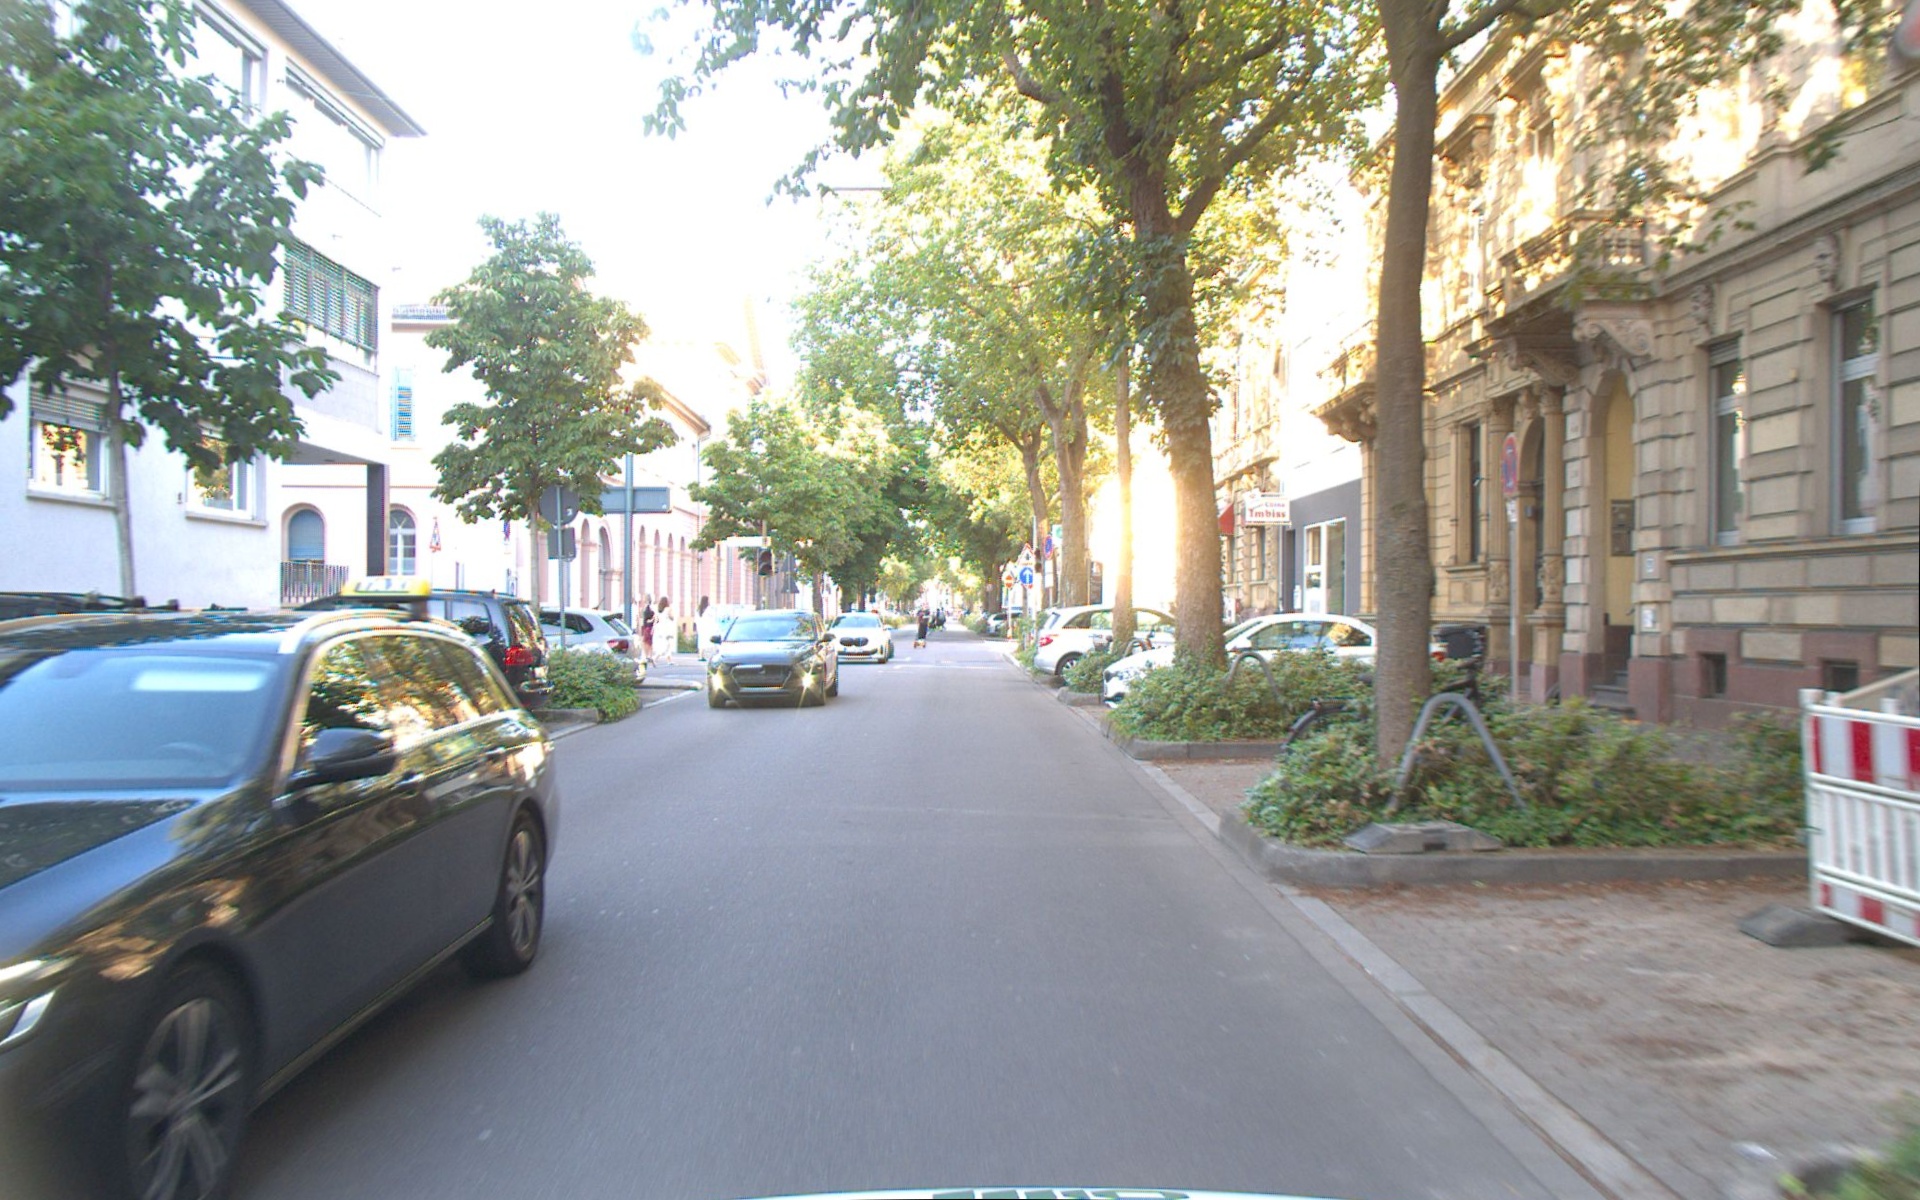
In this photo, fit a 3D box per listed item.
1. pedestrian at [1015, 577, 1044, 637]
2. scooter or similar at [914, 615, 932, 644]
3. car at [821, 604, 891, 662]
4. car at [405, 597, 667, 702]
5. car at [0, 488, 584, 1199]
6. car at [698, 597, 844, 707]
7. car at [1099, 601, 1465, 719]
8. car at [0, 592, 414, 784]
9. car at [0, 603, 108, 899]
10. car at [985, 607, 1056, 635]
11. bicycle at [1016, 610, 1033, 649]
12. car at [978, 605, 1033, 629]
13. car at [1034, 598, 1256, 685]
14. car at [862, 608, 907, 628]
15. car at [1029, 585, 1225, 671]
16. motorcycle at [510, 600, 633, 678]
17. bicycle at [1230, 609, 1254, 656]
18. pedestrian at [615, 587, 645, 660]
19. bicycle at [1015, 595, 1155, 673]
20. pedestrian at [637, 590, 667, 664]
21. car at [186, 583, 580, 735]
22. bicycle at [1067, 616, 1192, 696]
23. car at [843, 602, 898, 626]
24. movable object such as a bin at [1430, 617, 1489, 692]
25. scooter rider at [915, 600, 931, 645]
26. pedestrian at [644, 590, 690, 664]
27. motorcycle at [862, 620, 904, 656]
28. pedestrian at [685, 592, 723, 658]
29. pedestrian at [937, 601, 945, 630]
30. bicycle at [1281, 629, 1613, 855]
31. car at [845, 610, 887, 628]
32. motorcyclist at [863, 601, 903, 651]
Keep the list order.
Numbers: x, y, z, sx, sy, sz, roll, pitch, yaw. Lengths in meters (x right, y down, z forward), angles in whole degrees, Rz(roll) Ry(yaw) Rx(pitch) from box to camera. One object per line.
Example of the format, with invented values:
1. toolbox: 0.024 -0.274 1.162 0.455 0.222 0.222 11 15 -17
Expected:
1. pedestrian: 2.595 0.259 61.798 1.022 2.184 1.063 1 -1 0
2. scooter or similar: -1.491 1.212 66.964 0.491 1.165 1.251 0 -1 10
3. car: -2.979 0.932 48.013 1.839 1.576 4.273 -1 0 -1
4. car: -6.652 0.768 26.219 3.666 1.484 1.734 2 0 -1
5. car: -2.584 0.661 5.177 1.839 1.669 4.644 -1 0 -1
6. car: -2.894 0.767 26.178 1.838 1.576 4.274 -1 0 0
7. car: 4.143 0.764 21.843 4.488 1.462 1.925 0 0 1
8. car: -7.073 0.711 14.414 3.991 1.465 1.755 2 0 1
9. car: -6.931 0.724 8.697 3.945 1.520 1.781 2 0 3
10. car: 3.591 1.246 98.305 4.107 1.506 1.852 -2 0 -1
11. bicycle: 2.352 1.067 60.371 0.407 1.396 1.289 -1 0 11
12. car: 3.268 1.203 119.260 3.933 1.651 1.780 -1 0 -2
13. car: 3.529 0.778 32.116 4.136 1.587 1.971 -1 0 3
14. car: -8.618 2.044 188.400 4.960 2.119 2.263 0 0 0
15. car: 3.961 0.652 39.733 4.449 1.948 1.949 -1 0 -3
16. motorcycle: -7.390 0.742 31.451 2.104 1.444 0.968 -1 -1 21
17. bicycle: 7.592 0.873 44.598 0.377 1.232 1.726 0 -1 2
18. pedestrian: -8.552 0.597 42.852 0.542 1.883 0.612 0 -1 14
19. bicycle: 2.784 0.755 36.908 3.052 1.692 0.658 1 -1 -5
20. pedestrian: -7.950 0.696 42.645 0.542 1.882 0.612 1 1 14
21. car: -6.818 0.678 19.867 4.009 1.660 1.936 1 0 1
22. bicycle: 2.802 0.921 27.365 1.984 1.225 0.487 -2 -1 -13
23. car: -8.241 1.249 152.090 4.961 2.119 2.262 0 0 -1
24. movable object such as a bin: 7.352 0.801 24.357 0.644 1.083 0.615 -1 -1 -1
25. scooter rider: -1.484 0.922 67.013 0.484 1.823 0.875 0 -1 9
26. pedestrian: -7.386 0.675 41.730 0.775 1.822 0.770 3 0 28
27. motorcycle: -2.521 1.270 54.641 1.285 1.109 2.396 0 -3 0
28. pedestrian: -7.018 0.690 45.399 0.758 1.769 0.845 1 -1 11
29. pedestrian: -1.362 1.085 118.472 0.492 2.049 0.621 1 -1 1
30. bicycle: 3.162 0.914 10.806 2.005 1.384 0.508 1 0 -3
31. car: -8.363 1.643 146.691 3.652 1.534 1.871 0 0 -4
32. motorcyclist: -2.533 0.863 54.616 1.254 1.620 1.077 0 -1 0
